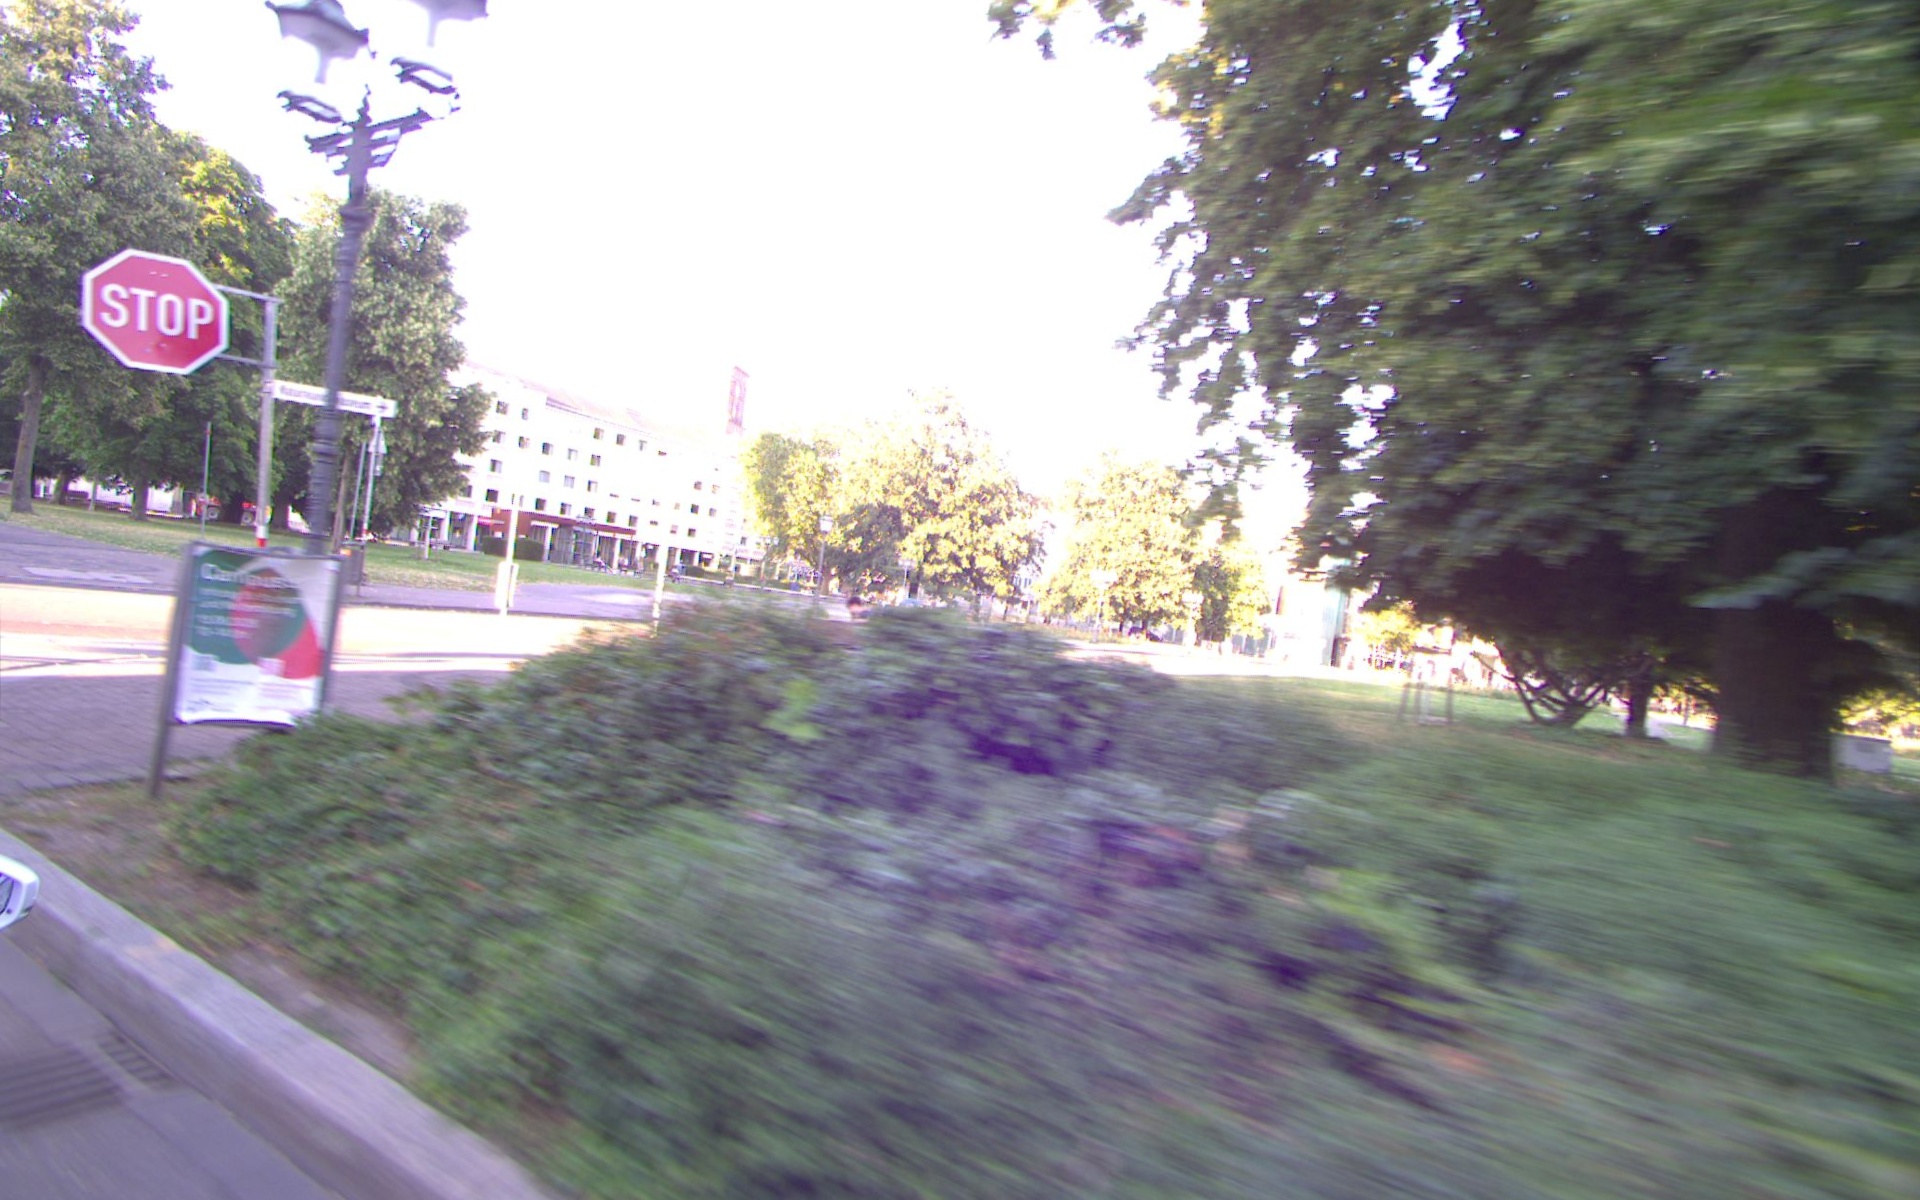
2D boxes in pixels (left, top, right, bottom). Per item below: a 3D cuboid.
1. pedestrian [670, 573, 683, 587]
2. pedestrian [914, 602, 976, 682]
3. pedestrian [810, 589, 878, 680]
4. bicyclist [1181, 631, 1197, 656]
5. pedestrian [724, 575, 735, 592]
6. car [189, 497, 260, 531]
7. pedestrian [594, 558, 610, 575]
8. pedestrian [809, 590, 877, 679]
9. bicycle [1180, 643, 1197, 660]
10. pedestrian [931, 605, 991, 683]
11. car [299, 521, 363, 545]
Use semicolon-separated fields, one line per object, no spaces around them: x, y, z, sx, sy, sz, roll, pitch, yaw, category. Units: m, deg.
-19.662;-1.393;69.859;0.609;0.936;0.512;7;1;6;pedestrian
-0.273;0.770;18.388;0.804;1.358;0.598;7;1;26;pedestrian
-1.747;0.518;15.221;0.803;1.253;0.683;7;1;2;pedestrian
14.012;2.666;61.469;0.630;1.462;0.695;8;1;25;bicyclist
-15.959;-1.116;69.634;0.610;1.091;0.511;7;1;-8;pedestrian
-59.126;-6.931;80.890;1.967;2.038;4.035;7;0;33;car
-26.112;-2.416;73.351;0.893;1.091;0.614;6;1;-41;pedestrian
-1.830;0.537;15.877;0.857;1.277;0.598;7;1;1;pedestrian
13.996;3.172;61.574;0.630;0.953;1.462;7;0;25;bicycle
0.029;0.831;18.972;0.804;1.358;0.598;7;1;26;pedestrian
-47.946;-5.119;76.710;1.964;1.255;3.582;7;0;25;car
